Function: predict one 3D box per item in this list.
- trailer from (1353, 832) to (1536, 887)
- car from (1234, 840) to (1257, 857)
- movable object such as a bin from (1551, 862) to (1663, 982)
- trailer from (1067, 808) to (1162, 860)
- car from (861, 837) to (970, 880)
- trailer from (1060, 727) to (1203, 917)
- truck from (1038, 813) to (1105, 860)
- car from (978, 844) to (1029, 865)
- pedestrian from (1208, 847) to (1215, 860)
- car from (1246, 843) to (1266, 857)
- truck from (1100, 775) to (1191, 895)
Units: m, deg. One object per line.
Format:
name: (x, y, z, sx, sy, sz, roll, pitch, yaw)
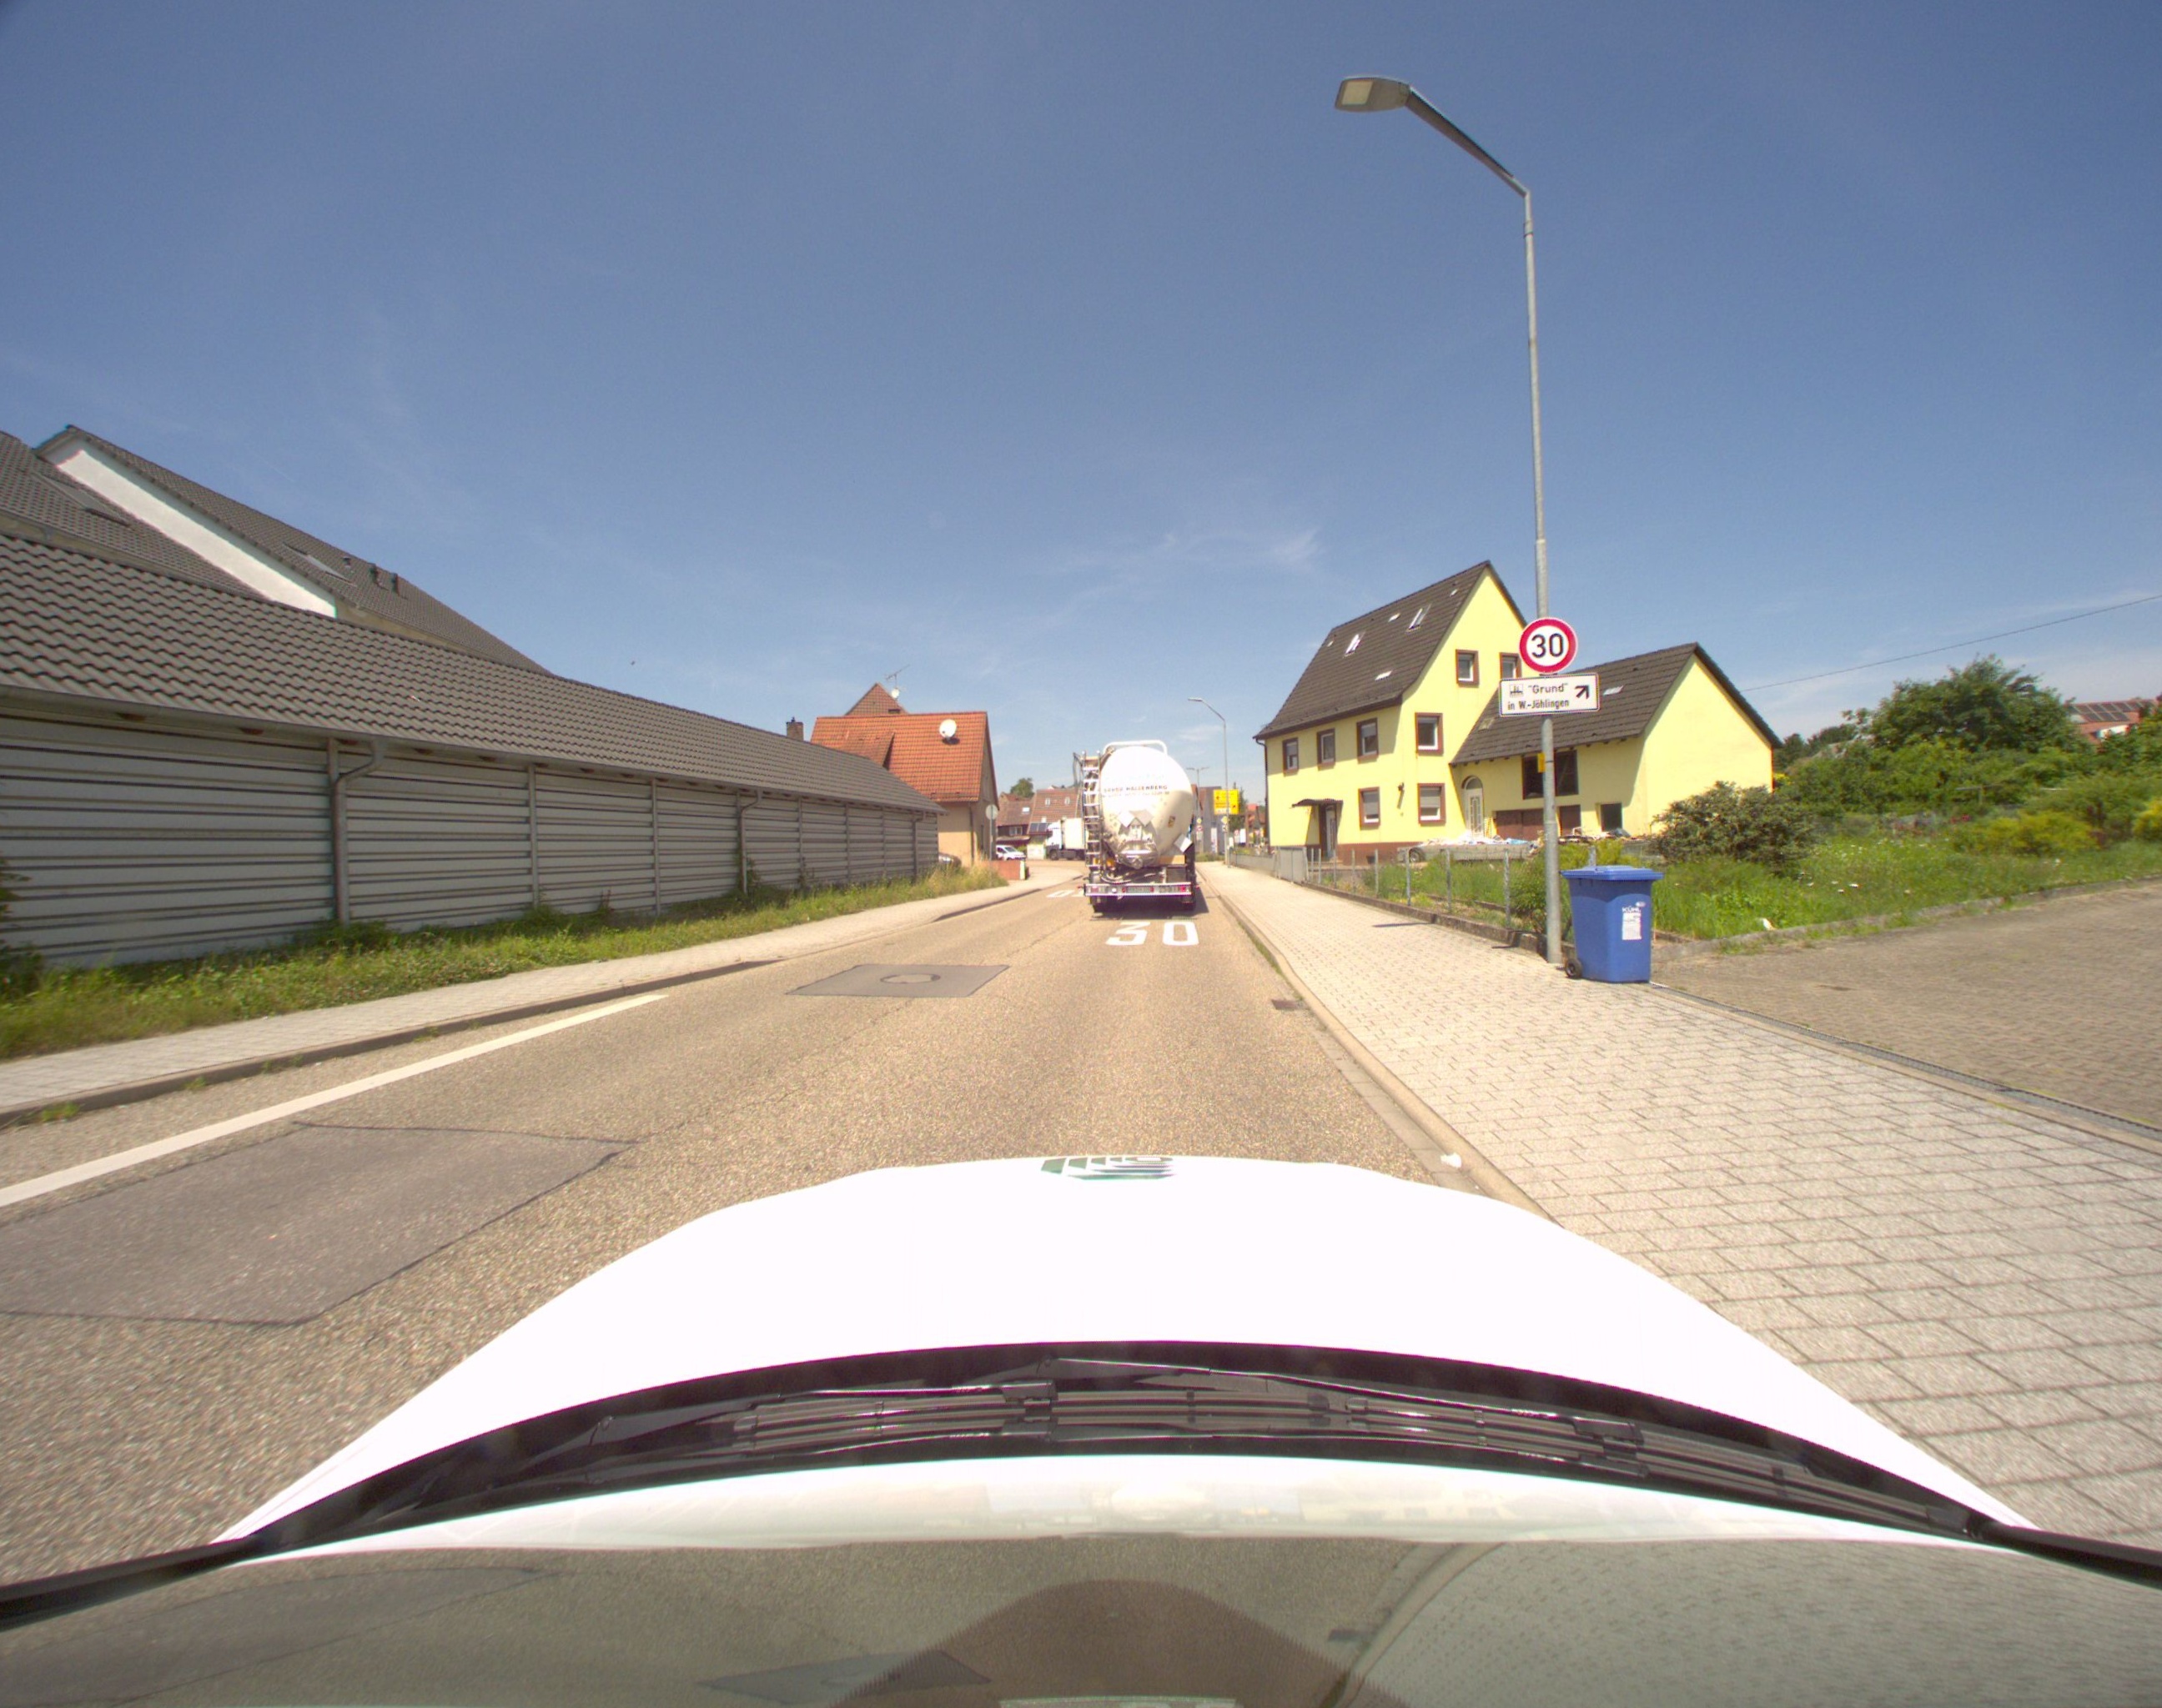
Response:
trailer: (11.438, 0.144, 25.612, 5.369, 1.546, 2.122, -1, 0, -23)
car: (19.137, -0.635, 94.551, 1.977, 1.912, 4.345, -1, -1, 19)
movable object such as a bin: (4.946, 0.616, 7.690, 0.565, 1.057, 0.649, -2, 0, -9)
trailer: (2.725, -1.615, 73.808, 3.148, 4.277, 12.389, -1, 0, -26)
car: (-7.097, 0.168, 35.145, 4.101, 1.638, 1.870, -3, 0, 8)
trailer: (1.742, -0.648, 22.972, 2.937, 3.948, 11.640, -1, 0, 7)
truck: (-0.923, -1.670, 79.954, 5.859, 4.401, 3.134, -1, 0, 40)
car: (-7.256, 0.042, 76.305, 4.464, 1.785, 1.891, -1, 1, 28)
pedestrian: (20.761, -0.098, 129.830, 0.762, 2.013, 0.982, -1, 0, 27)
car: (21.759, -0.484, 101.194, 1.802, 1.634, 4.229, -2, 0, 21)
truck: (2.474, -0.623, 29.885, 2.972, 3.965, 5.589, -1, 0, 7)
